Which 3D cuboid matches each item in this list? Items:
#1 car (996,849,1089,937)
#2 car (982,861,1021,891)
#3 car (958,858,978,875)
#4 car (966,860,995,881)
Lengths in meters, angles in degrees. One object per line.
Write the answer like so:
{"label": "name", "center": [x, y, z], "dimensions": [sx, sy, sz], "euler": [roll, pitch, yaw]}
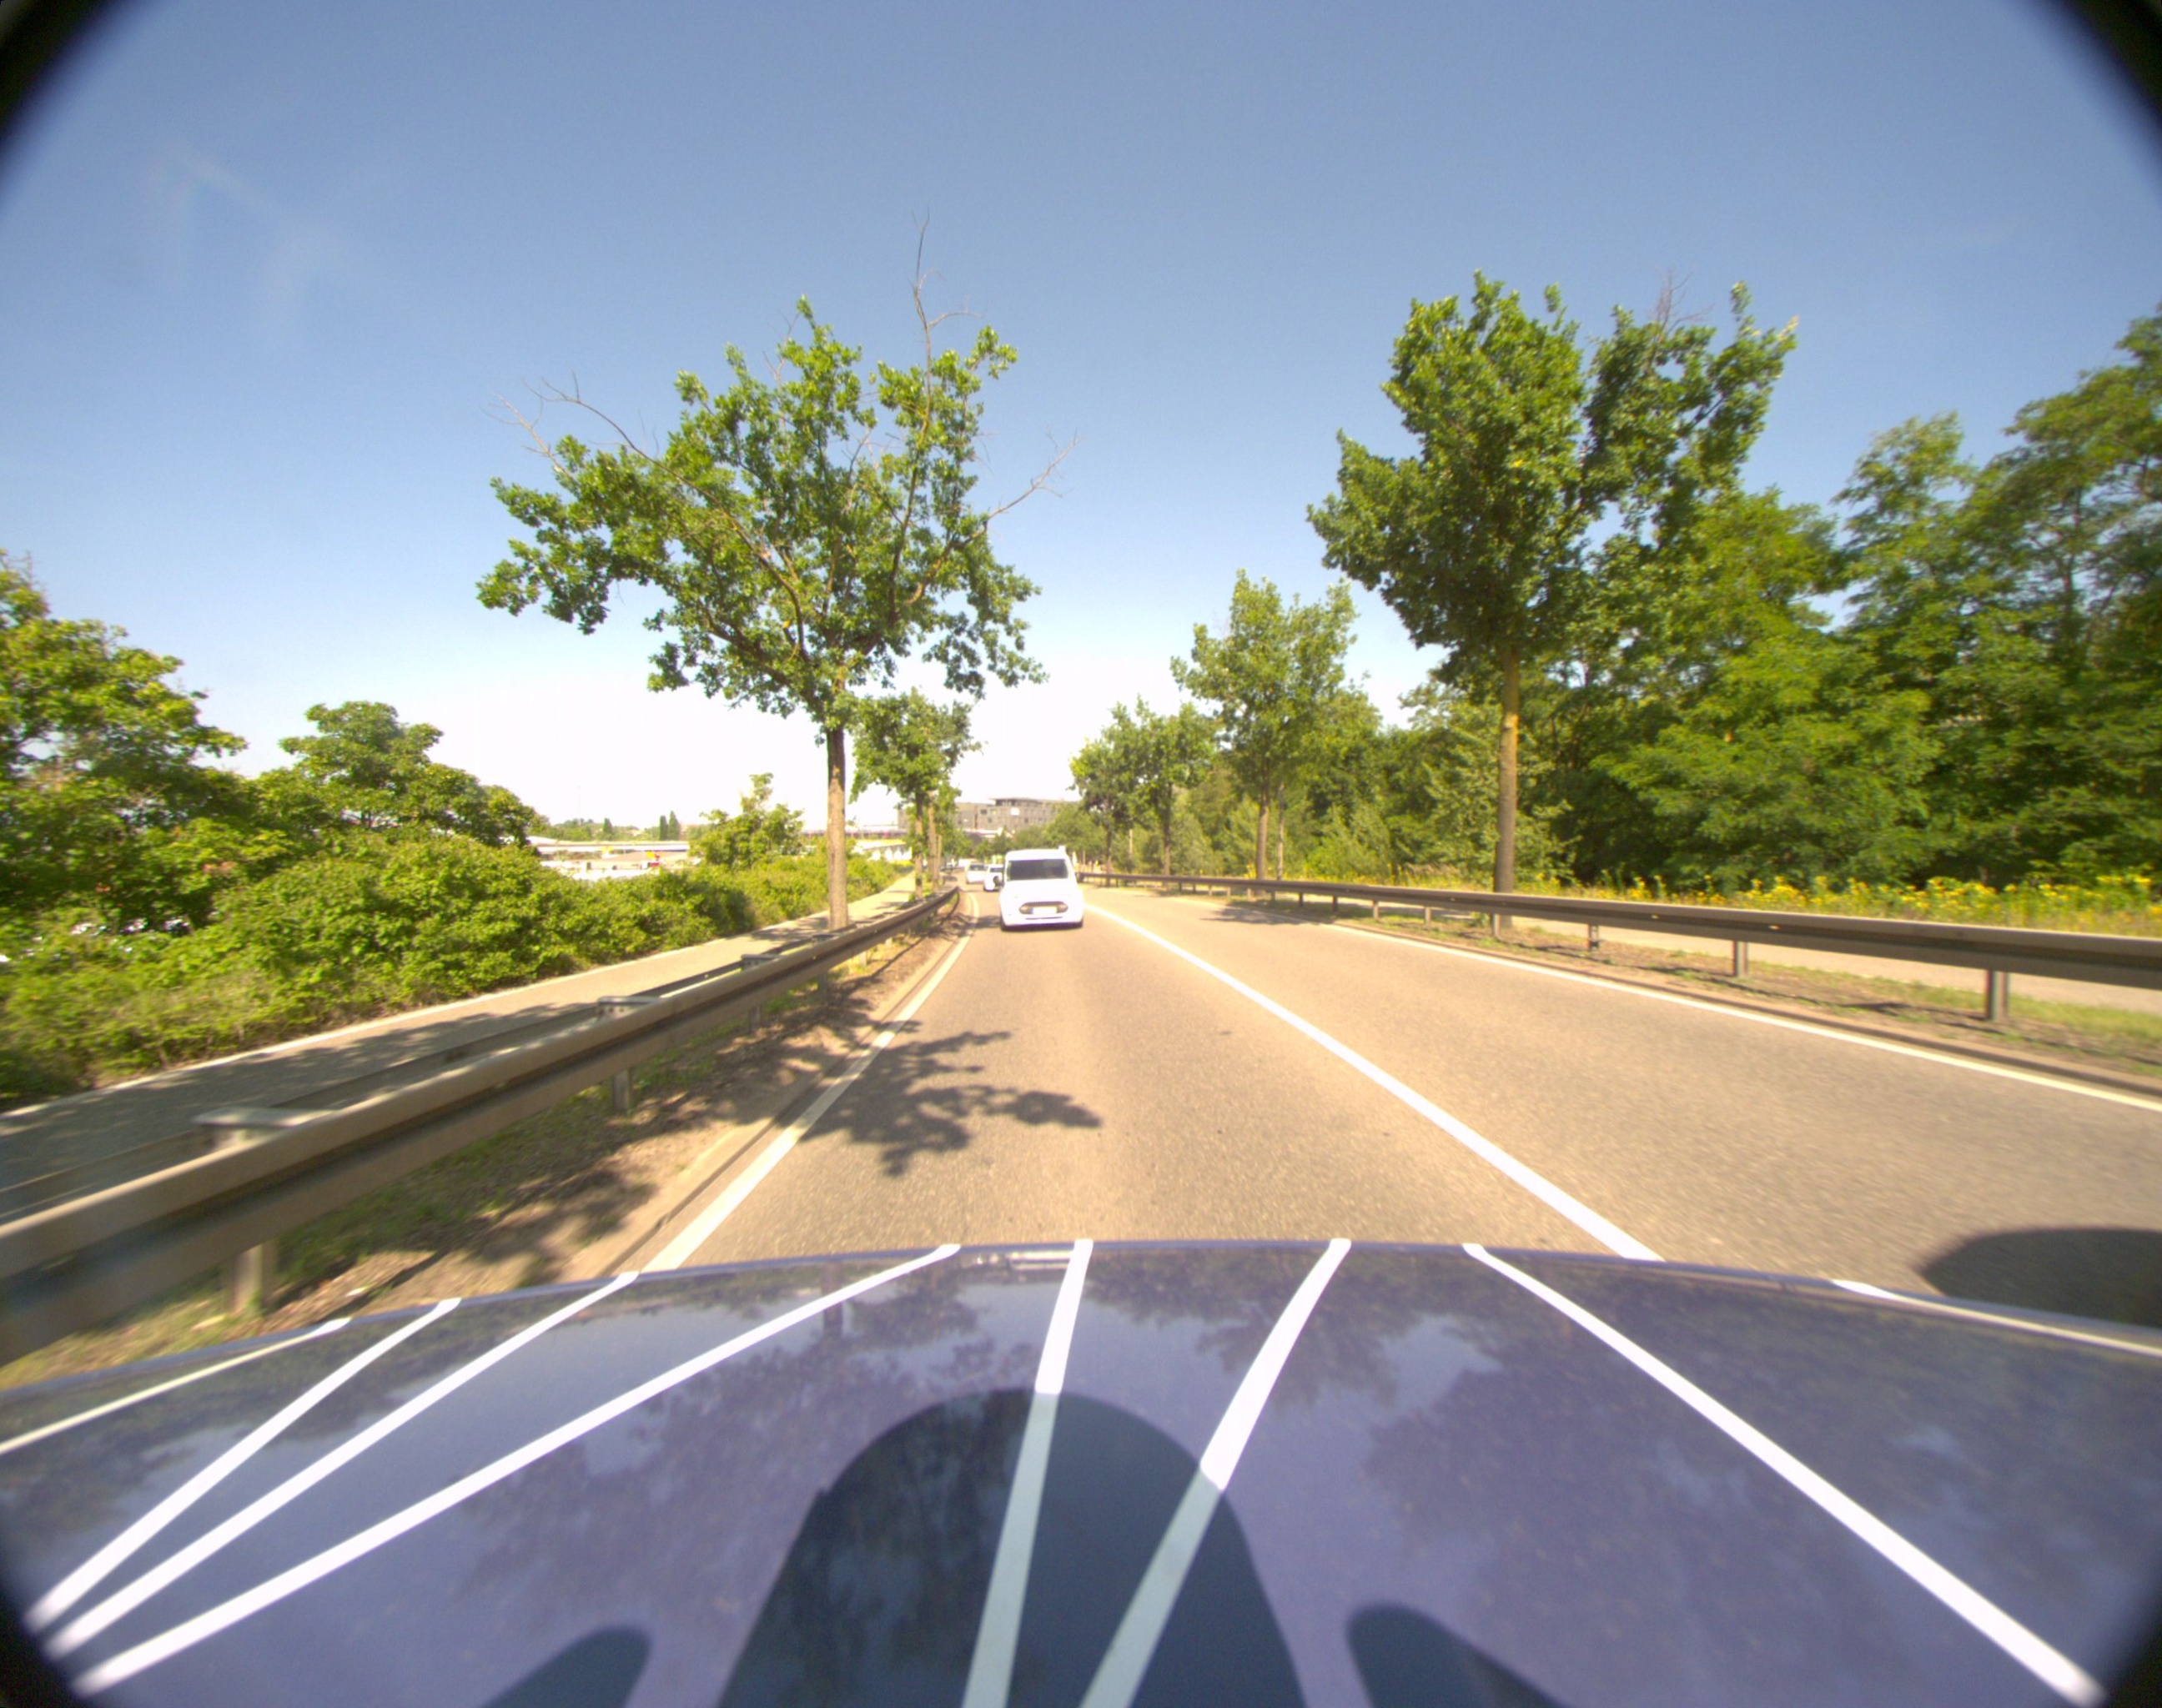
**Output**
{"label": "car", "center": [-0.953, 0.813, 18.104], "dimensions": [1.898, 1.785, 4.445], "euler": [-2, 0, -4]}
{"label": "car", "center": [-4.444, 1.192, 42.205], "dimensions": [1.847, 1.479, 4.148], "euler": [-2, 0, -10]}
{"label": "car", "center": [-12.897, 1.426, 86.651], "dimensions": [2.000, 1.757, 3.996], "euler": [-3, 1, -10]}
{"label": "car", "center": [-7.995, 1.271, 60.214], "dimensions": [2.000, 1.575, 3.996], "euler": [-2, 0, -10]}
